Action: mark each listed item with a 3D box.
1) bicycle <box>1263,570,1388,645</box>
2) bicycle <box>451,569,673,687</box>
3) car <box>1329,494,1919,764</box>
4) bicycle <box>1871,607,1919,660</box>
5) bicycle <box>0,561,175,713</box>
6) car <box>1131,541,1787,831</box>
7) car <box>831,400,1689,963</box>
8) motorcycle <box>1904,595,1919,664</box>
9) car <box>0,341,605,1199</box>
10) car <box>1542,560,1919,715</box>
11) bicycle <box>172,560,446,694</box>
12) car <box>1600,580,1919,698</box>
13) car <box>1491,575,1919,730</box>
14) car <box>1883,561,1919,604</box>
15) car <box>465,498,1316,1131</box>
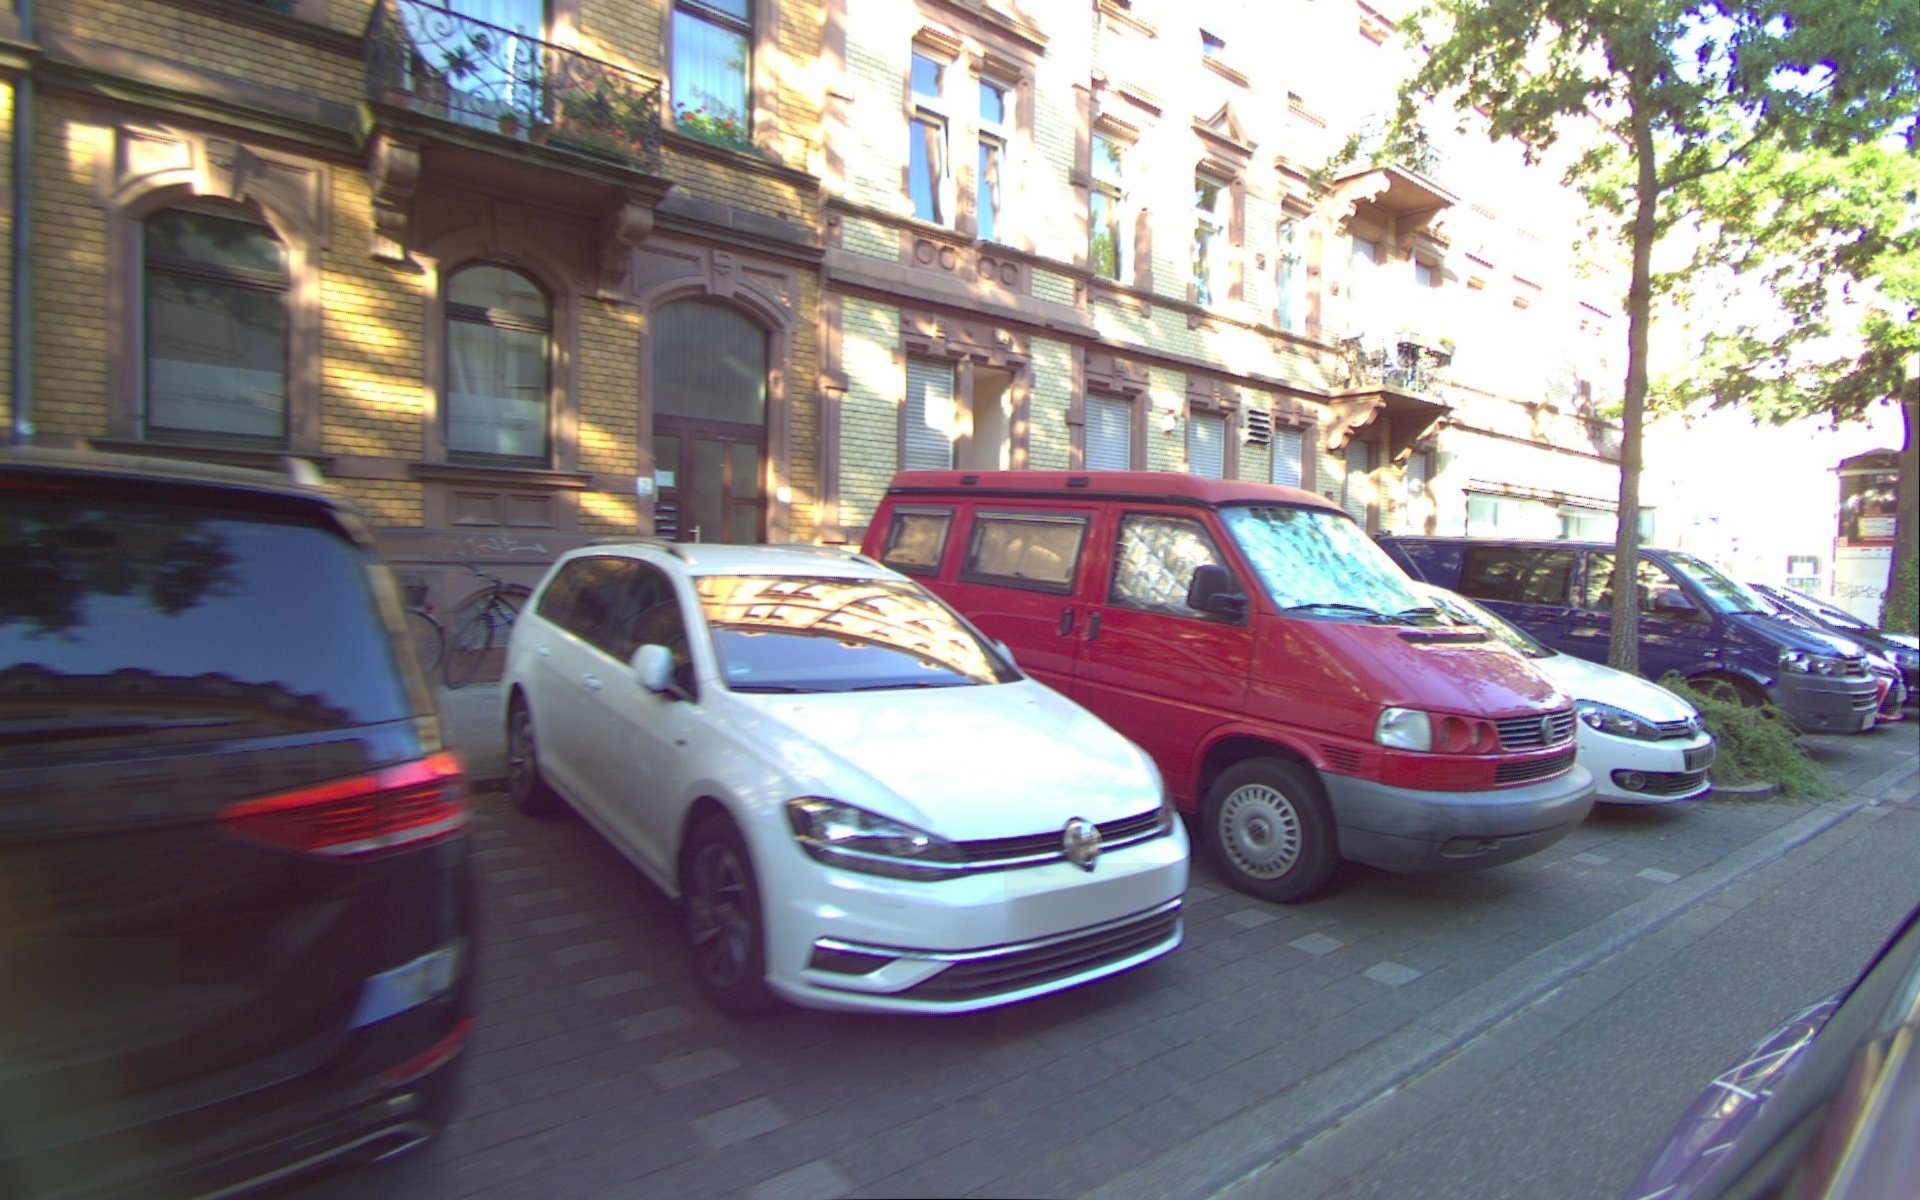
[{"bbox_3d":[6.311,0.113,17.388,2.544,1.185,0.673,0,4,-36],"label":"bicycle"},{"bbox_3d":[-3.600,0.229,9.263,1.833,0.974,0.406,0,4,-39],"label":"bicycle"},{"bbox_3d":[6.827,0.164,10.990,1.956,2.242,5.035,0,2,-37],"label":"car"},{"bbox_3d":[18.436,0.682,18.977,0.348,0.938,1.936,-1,5,-39],"label":"bicycle"},{"bbox_3d":[-6.409,0.238,6.735,0.403,0.974,1.845,5,4,33],"label":"bicycle"},{"bbox_3d":[3.477,0.375,7.734,1.845,1.528,4.066,0,4,-39],"label":"car"},{"bbox_3d":[1.259,0.151,6.096,1.845,2.058,4.688,0,4,-39],"label":"car"},{"bbox_3d":[18.309,0.605,18.133,0.673,1.249,1.904,0,4,-38],"label":"motorcycle"},{"bbox_3d":[-2.629,0.324,3.140,1.802,1.647,4.202,0,4,-35],"label":"car"},{"bbox_3d":[10.948,0.366,14.004,1.814,1.699,4.711,0,3,-29],"label":"car"},{"bbox_3d":[-5.241,0.195,8.227,1.833,0.974,0.406,0,4,-39],"label":"bicycle"},{"bbox_3d":[12.826,0.508,15.443,1.816,1.430,4.803,0,3,-35],"label":"car"},{"bbox_3d":[9.095,0.494,12.541,1.693,1.553,4.117,0,2,-37],"label":"car"},{"bbox_3d":[74.777,-1.360,78.617,3.303,3.218,7.986,2,2,34],"label":"car"},{"bbox_3d":[-0.910,0.369,4.871,1.844,1.532,4.691,0,4,-36],"label":"car"}]
